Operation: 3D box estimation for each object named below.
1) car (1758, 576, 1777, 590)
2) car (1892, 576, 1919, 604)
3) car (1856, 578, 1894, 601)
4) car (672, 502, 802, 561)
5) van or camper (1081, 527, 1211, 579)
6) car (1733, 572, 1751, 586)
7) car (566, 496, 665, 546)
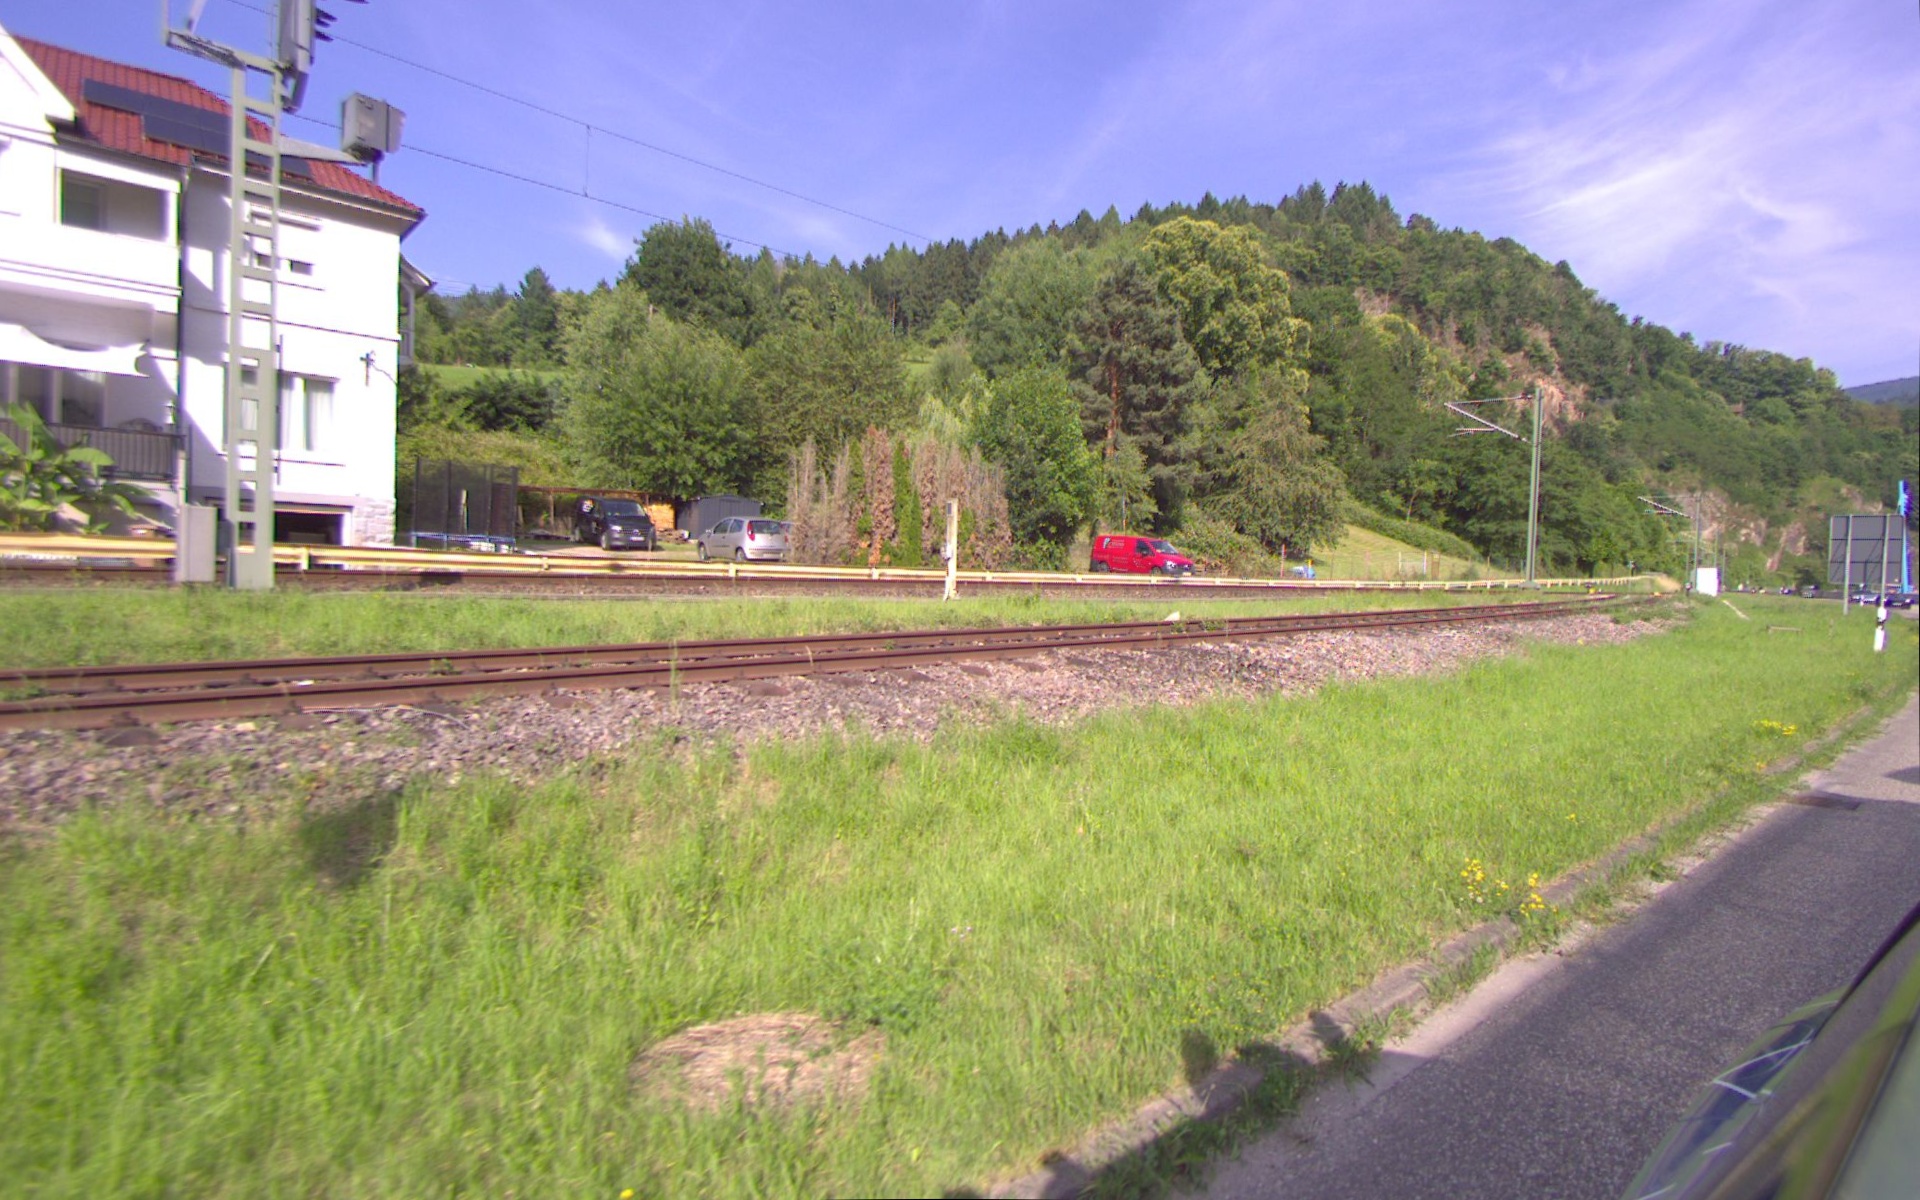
[{"bbox_3d":[120.448,-2.537,150.941,1.993,2.037,3.940,6,4,41],"label":"car"},{"bbox_3d":[75.249,-0.775,80.089,1.995,2.037,3.937,6,4,43],"label":"car"},{"bbox_3d":[86.526,-0.998,95.785,1.988,2.037,3.951,5,4,34],"label":"car"},{"bbox_3d":[-6.770,-2.082,30.507,1.967,1.548,3.992,1,3,-44],"label":"car"},{"bbox_3d":[7.967,-2.059,43.933,2.082,1.952,5.433,0,4,-39],"label":"van or camper"},{"bbox_3d":[118.252,-3.169,153.034,1.990,2.037,3.946,5,4,37],"label":"car"},{"bbox_3d":[-12.983,-2.985,38.039,1.967,1.704,3.992,1,3,-44],"label":"car"}]
